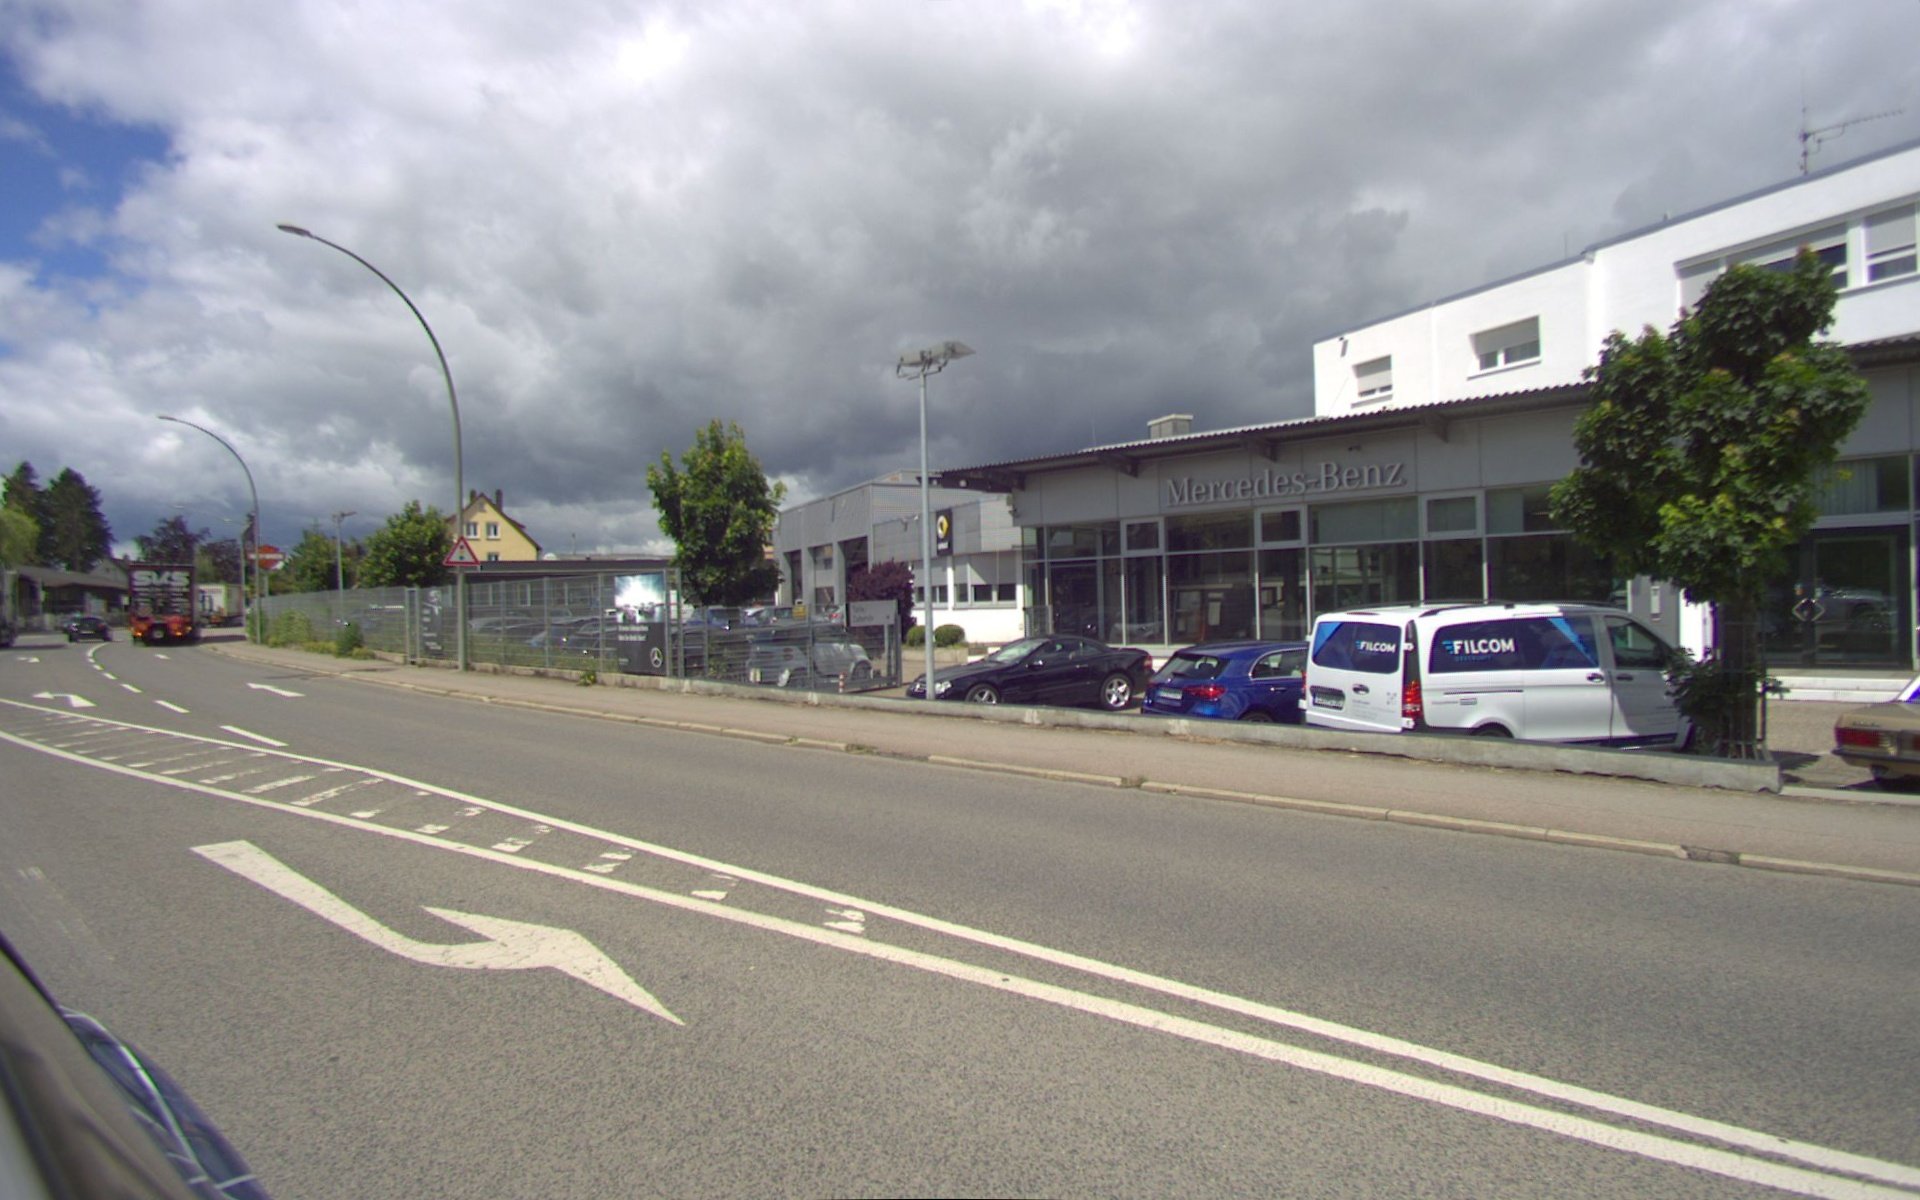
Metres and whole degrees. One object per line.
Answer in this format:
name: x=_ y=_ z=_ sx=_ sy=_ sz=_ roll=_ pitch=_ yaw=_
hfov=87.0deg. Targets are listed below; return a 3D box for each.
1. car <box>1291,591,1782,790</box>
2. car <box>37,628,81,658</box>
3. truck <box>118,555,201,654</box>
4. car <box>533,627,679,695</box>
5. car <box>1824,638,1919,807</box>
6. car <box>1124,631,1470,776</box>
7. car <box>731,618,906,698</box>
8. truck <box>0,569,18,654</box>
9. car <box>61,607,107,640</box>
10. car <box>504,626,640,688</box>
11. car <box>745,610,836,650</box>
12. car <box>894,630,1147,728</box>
car: x=6.372 y=0.871 z=11.264 sx=4.874 sy=1.852 sz=1.898 roll=-1 pitch=-1 yaw=-17
car: x=-67.606 y=3.194 z=75.995 sx=1.923 sy=2.029 sz=4.010 roll=-1 pitch=0 yaw=-34
truck: x=-40.970 y=0.219 z=52.004 sx=2.934 sy=4.696 sz=8.198 roll=-1 pitch=0 yaw=-36
car: x=-9.165 y=1.522 z=26.289 sx=3.219 sy=1.586 sz=1.583 roll=0 pitch=-1 yaw=-45
car: x=10.416 y=0.983 z=9.256 sx=4.388 sy=1.339 sz=1.899 roll=-4 pitch=0 yaw=-21
car: x=4.306 y=1.228 z=13.043 sx=3.887 sy=1.437 sz=1.810 roll=-3 pitch=0 yaw=-19
car: x=-3.084 y=1.241 z=22.542 sx=1.658 sy=1.474 sz=3.614 roll=-3 pitch=0 yaw=42
truck: x=-45.485 y=0.552 z=46.147 sx=2.860 sy=3.796 sz=9.654 roll=-1 pitch=0 yaw=-38
car: x=-48.542 y=1.307 z=56.149 sx=1.773 sy=1.746 sz=4.007 roll=2 pitch=-2 yaw=-40
car: x=-10.865 y=1.552 z=28.445 sx=3.219 sy=1.586 sz=1.583 roll=0 pitch=-1 yaw=-45
car: x=-6.578 y=1.139 z=39.480 sx=3.215 sy=1.462 sz=1.435 roll=0 pitch=-1 yaw=-39
car: x=1.030 y=1.267 z=17.313 sx=3.886 sy=1.303 sz=1.810 roll=-3 pitch=0 yaw=-24
